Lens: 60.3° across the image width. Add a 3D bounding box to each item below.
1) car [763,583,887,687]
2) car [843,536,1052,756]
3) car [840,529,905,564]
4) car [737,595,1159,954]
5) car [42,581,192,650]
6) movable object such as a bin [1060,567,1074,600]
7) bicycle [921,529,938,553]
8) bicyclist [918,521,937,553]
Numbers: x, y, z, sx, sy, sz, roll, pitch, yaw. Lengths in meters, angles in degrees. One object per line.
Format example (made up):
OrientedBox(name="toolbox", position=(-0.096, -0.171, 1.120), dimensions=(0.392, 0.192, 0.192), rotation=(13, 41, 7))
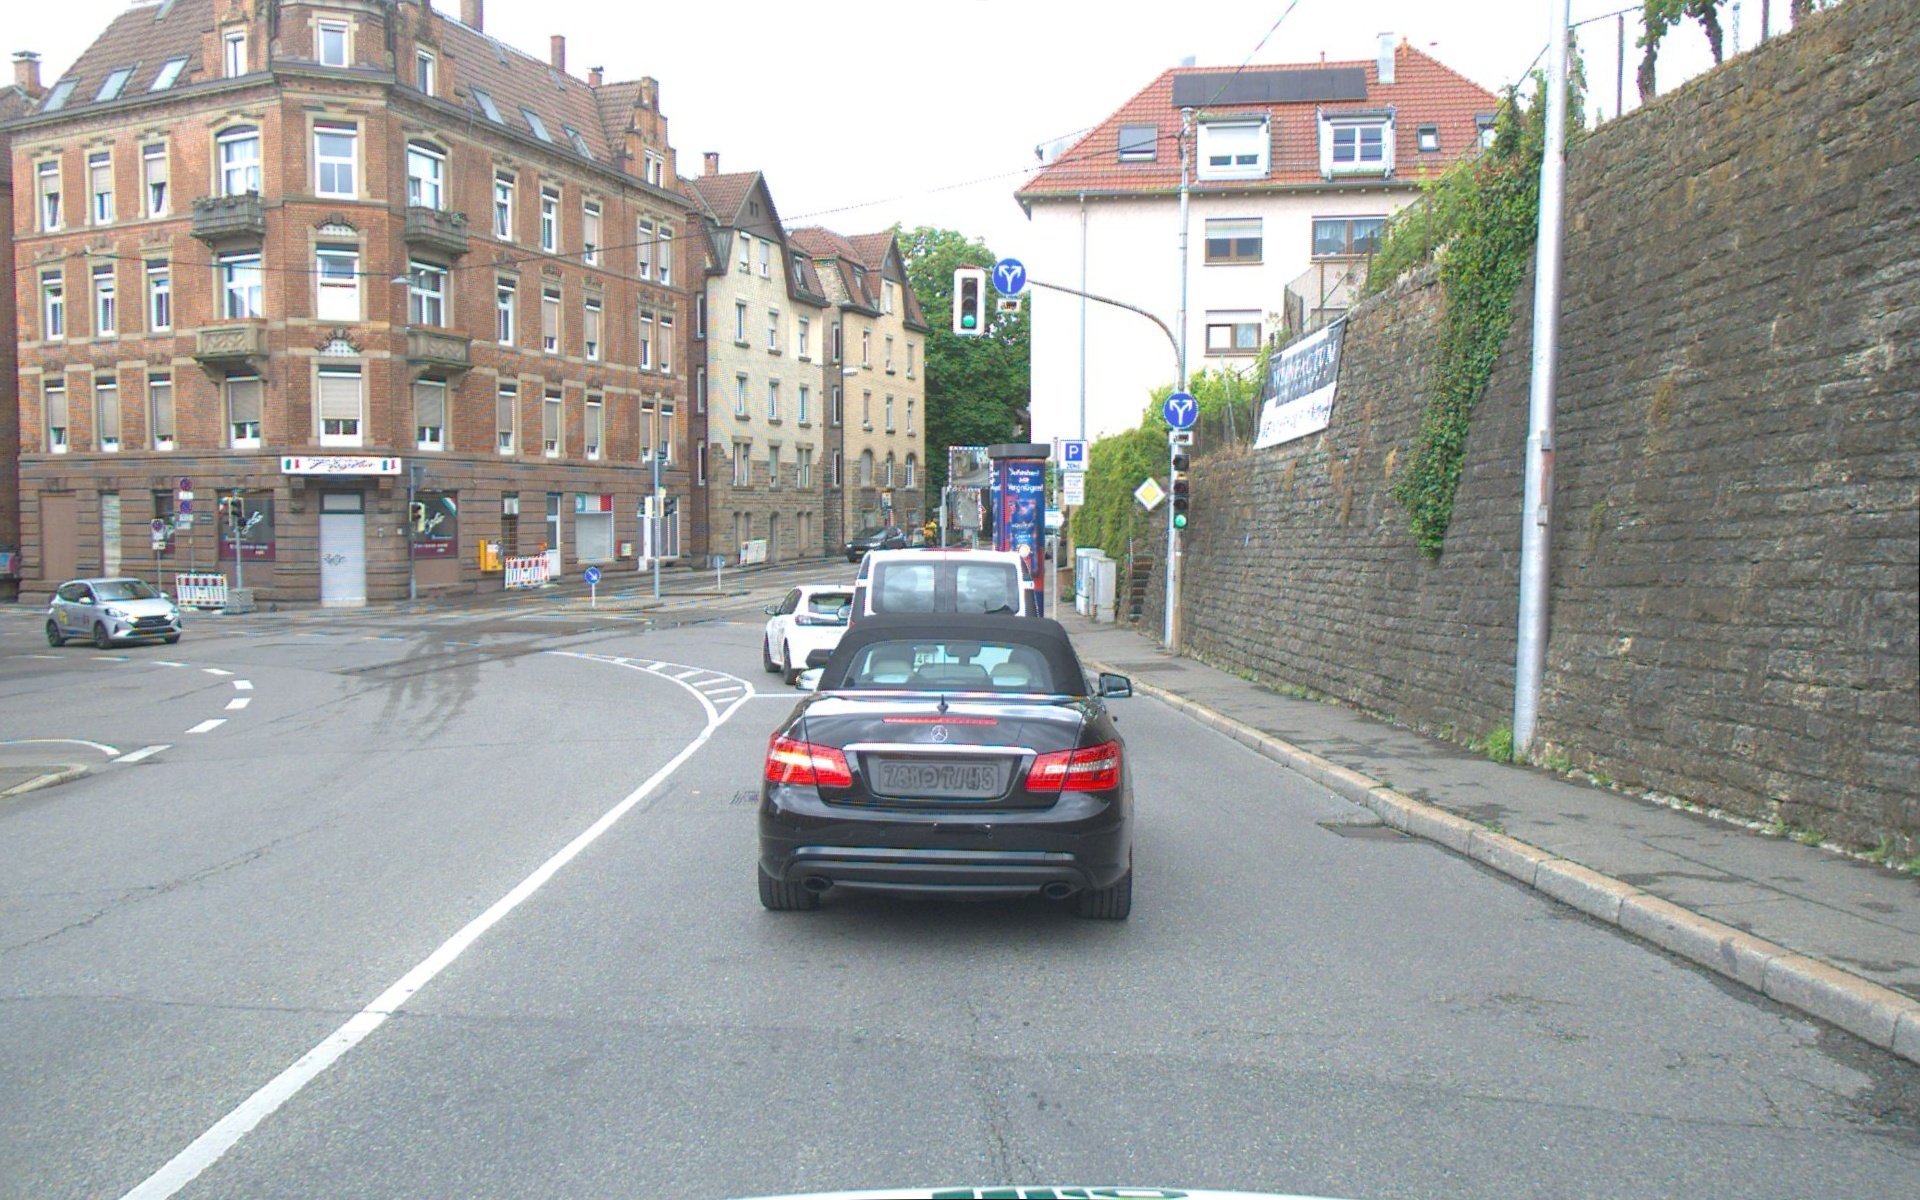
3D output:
OrientedBox(name="car", position=(-2.176, 0.485, 25.835), dimensions=(1.650, 1.491, 3.910), rotation=(0, 1, -9))
OrientedBox(name="car", position=(-0.141, 0.388, 17.061), dimensions=(1.853, 1.962, 4.644), rotation=(0, 0, -1))
OrientedBox(name="car", position=(-4.228, -2.644, 80.697), dimensions=(1.951, 1.541, 4.291), rotation=(0, 4, 14))
OrientedBox(name="car", position=(-0.077, 0.703, 8.961), dimensions=(1.726, 1.434, 4.398), rotation=(0, 1, -1))
OrientedBox(name="car", position=(-18.964, 0.314, 37.177), dimensions=(3.573, 1.493, 1.668), rotation=(0, 1, 38))
OrientedBox(name="movable object such as a bin", position=(3.062, -0.472, 47.354), dimensions=(0.337, 0.927, 0.494), rotation=(0, 1, -6))
OrientedBox(name="bicycle", position=(-1.760, -3.386, 95.006), dimensions=(0.618, 1.329, 2.601), rotation=(-4, 2, 5))
OrientedBox(name="bicyclist", position=(-1.856, -3.626, 94.902), dimensions=(0.924, 1.731, 0.786), rotation=(-4, 2, 4))
